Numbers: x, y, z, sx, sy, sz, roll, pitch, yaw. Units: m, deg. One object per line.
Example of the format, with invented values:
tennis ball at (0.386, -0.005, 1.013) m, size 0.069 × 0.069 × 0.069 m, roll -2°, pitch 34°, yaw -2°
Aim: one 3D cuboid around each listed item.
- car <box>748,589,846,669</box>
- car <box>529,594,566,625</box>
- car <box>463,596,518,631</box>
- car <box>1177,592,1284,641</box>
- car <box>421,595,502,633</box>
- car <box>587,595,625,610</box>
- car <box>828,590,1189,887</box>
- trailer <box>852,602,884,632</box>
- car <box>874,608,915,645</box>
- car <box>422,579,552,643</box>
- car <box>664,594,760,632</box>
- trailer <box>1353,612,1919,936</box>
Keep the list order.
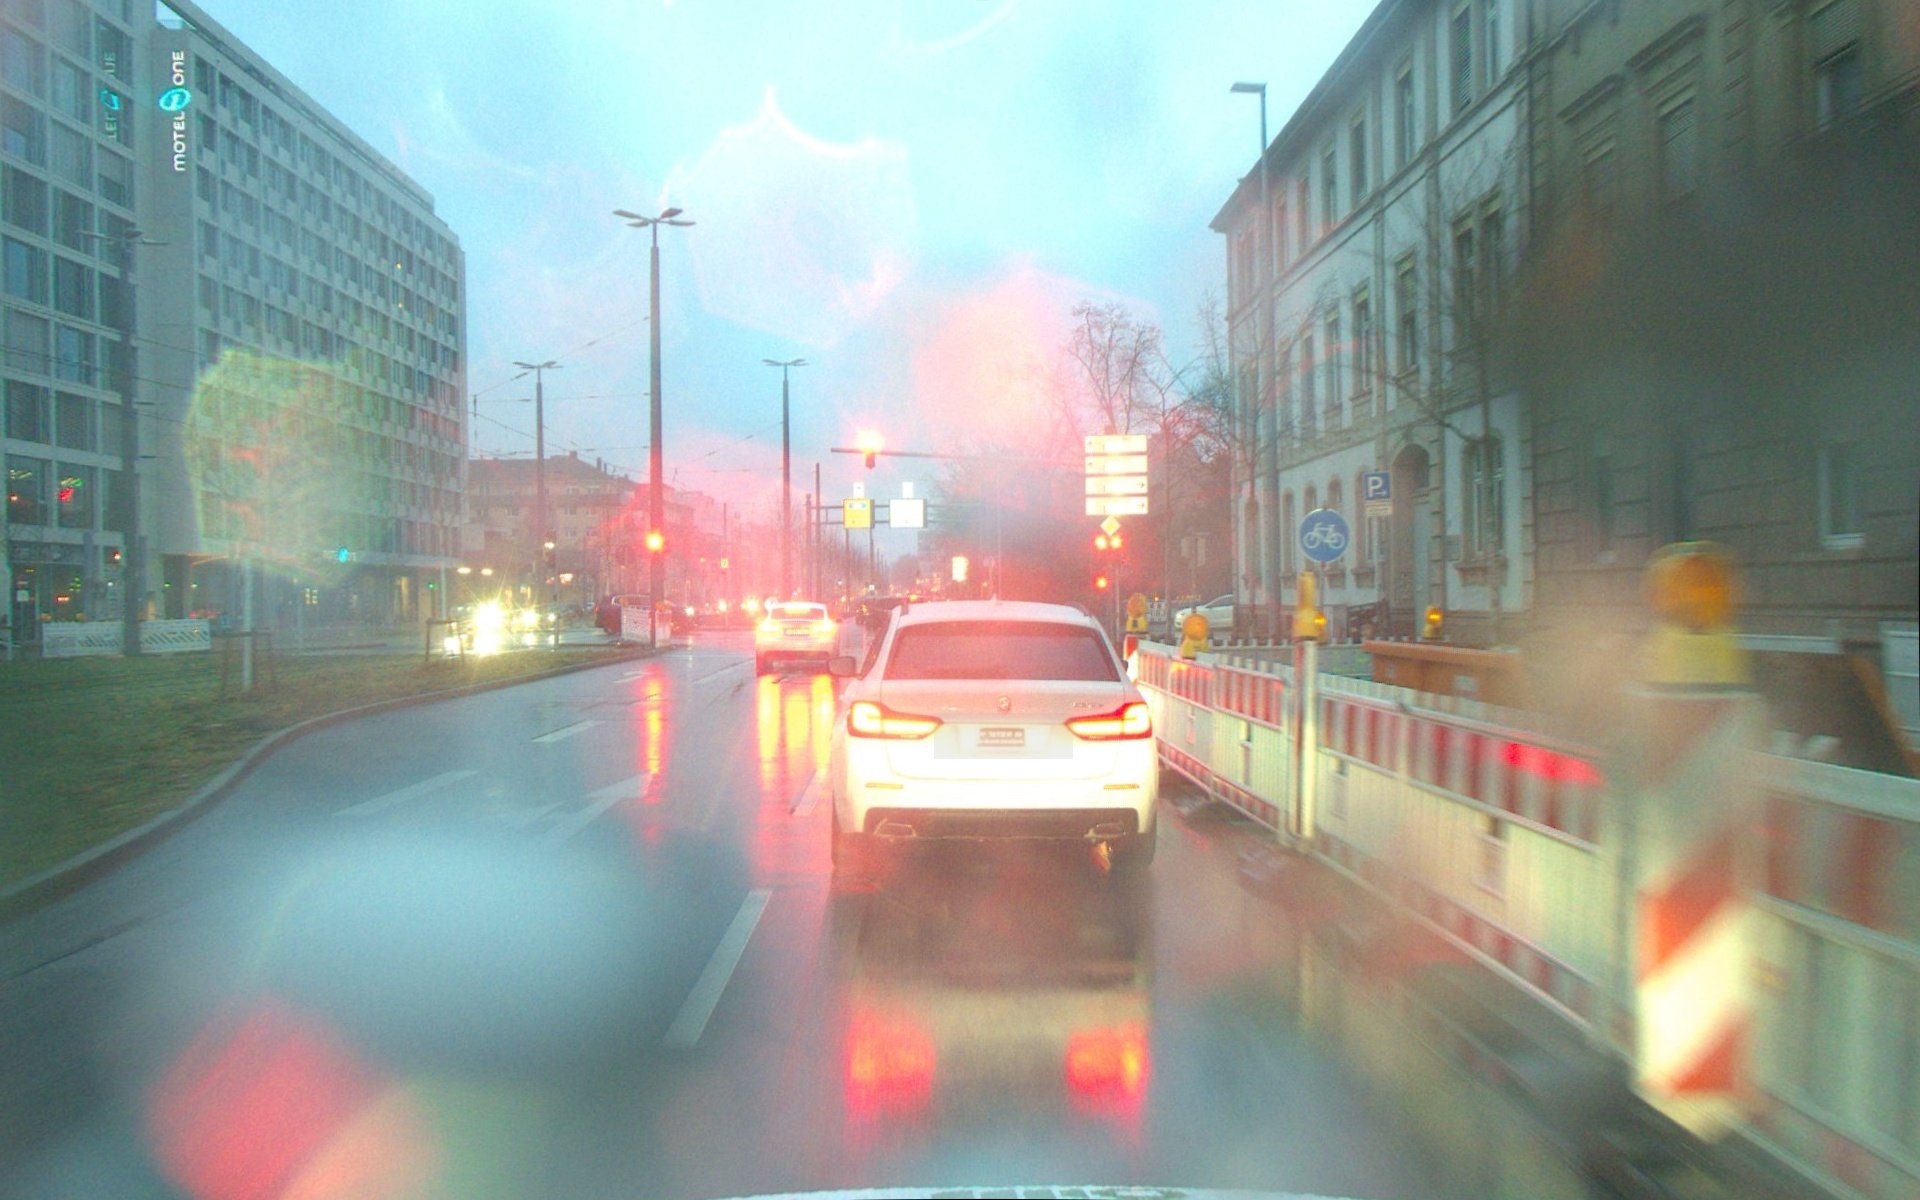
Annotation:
car at (-3.563, 0.611, 36.796) m, size 1.862 × 1.670 × 3.999 m, roll 1°, pitch 0°, yaw -1°
car at (-22.841, 0.500, 91.637) m, size 1.530 × 1.688 × 3.390 m, roll 1°, pitch 0°, yaw -7°
car at (-22.600, 0.630, 79.777) m, size 1.822 × 1.668 × 4.027 m, roll 1°, pitch 0°, yaw -6°
car at (10.542, 0.631, 64.387) m, size 3.903 × 1.829 × 1.852 m, roll 1°, pitch 0°, yaw 17°
car at (-21.058, 0.581, 69.850) m, size 3.480 × 1.518 × 1.734 m, roll 1°, pitch 0°, yaw 42°
car at (-41.244, 0.264, 192.787) m, size 4.134 × 1.775 × 1.836 m, roll 0°, pitch 0°, yaw -8°
car at (0.167, 0.700, 10.830) m, size 1.814 × 1.491 × 4.945 m, roll 1°, pitch 0°, yaw -2°
trailer at (-5.367, 0.954, 96.448) m, size 1.798 × 1.672 × 3.997 m, roll 1°, pitch 0°, yaw -4°
car at (-3.104, 1.255, 79.099) m, size 1.862 × 1.670 × 3.999 m, roll 1°, pitch 0°, yaw -1°
car at (-15.323, 0.348, 53.565) m, size 3.928 × 2.010 × 1.988 m, roll 1°, pitch 0°, yaw -20°
car at (-10.423, 0.547, 69.375) m, size 3.873 × 1.533 × 1.847 m, roll 1°, pitch 0°, yaw -12°
trailer at (3.520, 0.779, 9.070) m, size 1.813 × 1.369 × 3.527 m, roll 0°, pitch 0°, yaw -1°
